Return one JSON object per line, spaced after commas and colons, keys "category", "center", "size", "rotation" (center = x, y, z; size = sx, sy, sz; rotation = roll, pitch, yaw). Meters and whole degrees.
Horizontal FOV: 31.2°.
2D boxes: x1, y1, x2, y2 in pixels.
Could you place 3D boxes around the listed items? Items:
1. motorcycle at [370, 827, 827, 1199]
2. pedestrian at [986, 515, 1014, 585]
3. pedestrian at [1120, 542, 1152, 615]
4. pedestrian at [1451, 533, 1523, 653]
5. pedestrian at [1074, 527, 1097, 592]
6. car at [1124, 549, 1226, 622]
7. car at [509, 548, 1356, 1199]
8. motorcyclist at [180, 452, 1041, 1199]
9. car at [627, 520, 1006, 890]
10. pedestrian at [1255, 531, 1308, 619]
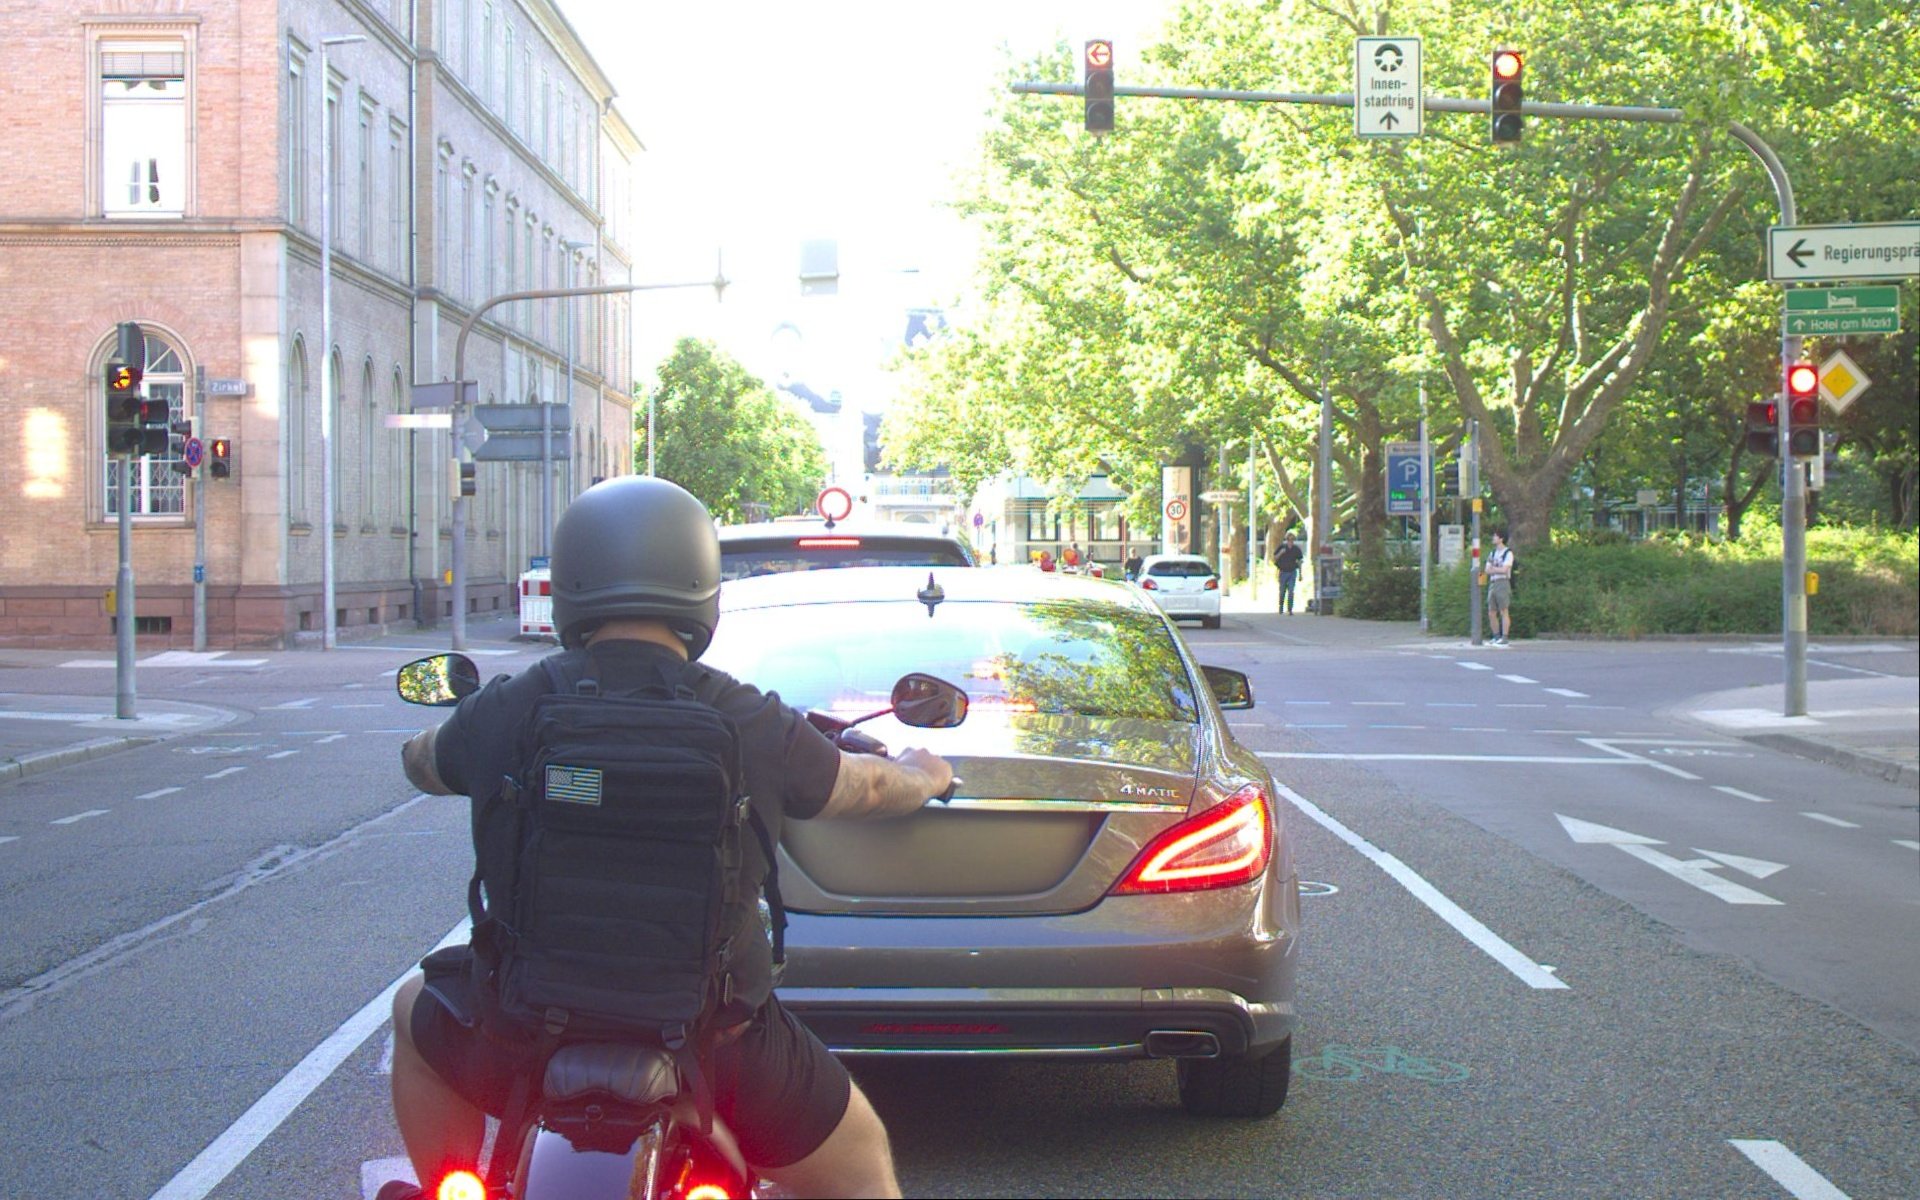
{"category": "motorcycle", "center": [-0.496, 0.929, 5.313], "size": [0.513, 0.999, 2.013], "rotation": [1, 1, -1]}
{"category": "pedestrian", "center": [1.172, -1.454, 100.762], "size": [0.764, 2.044, 0.712], "rotation": [1, 0, -1]}
{"category": "pedestrian", "center": [4.920, -0.608, 96.163], "size": [0.814, 2.007, 1.271], "rotation": [1, 0, -1]}
{"category": "pedestrian", "center": [8.139, -0.117, 53.134], "size": [1.002, 1.820, 1.076], "rotation": [1, 0, 6]}
{"category": "pedestrian", "center": [3.896, -1.266, 106.613], "size": [0.656, 2.007, 0.933], "rotation": [1, 0, -1]}
{"category": "car", "center": [4.298, -0.314, 69.140], "size": [1.776, 1.423, 3.802], "rotation": [0, 1, -1]}
{"category": "car", "center": [-0.084, 0.598, 9.632], "size": [1.882, 1.444, 3.820], "rotation": [1, 1, -1]}
{"category": "motorcyclist", "center": [-0.483, 0.599, 5.287], "size": [1.149, 1.593, 1.288], "rotation": [1, 0, -1]}
{"category": "car", "center": [-0.638, 0.413, 16.748], "size": [1.621, 1.588, 4.000], "rotation": [0, 1, -1]}
{"category": "pedestrian", "center": [7.018, -0.547, 75.032], "size": [0.749, 1.903, 0.926], "rotation": [1, 0, -28]}
